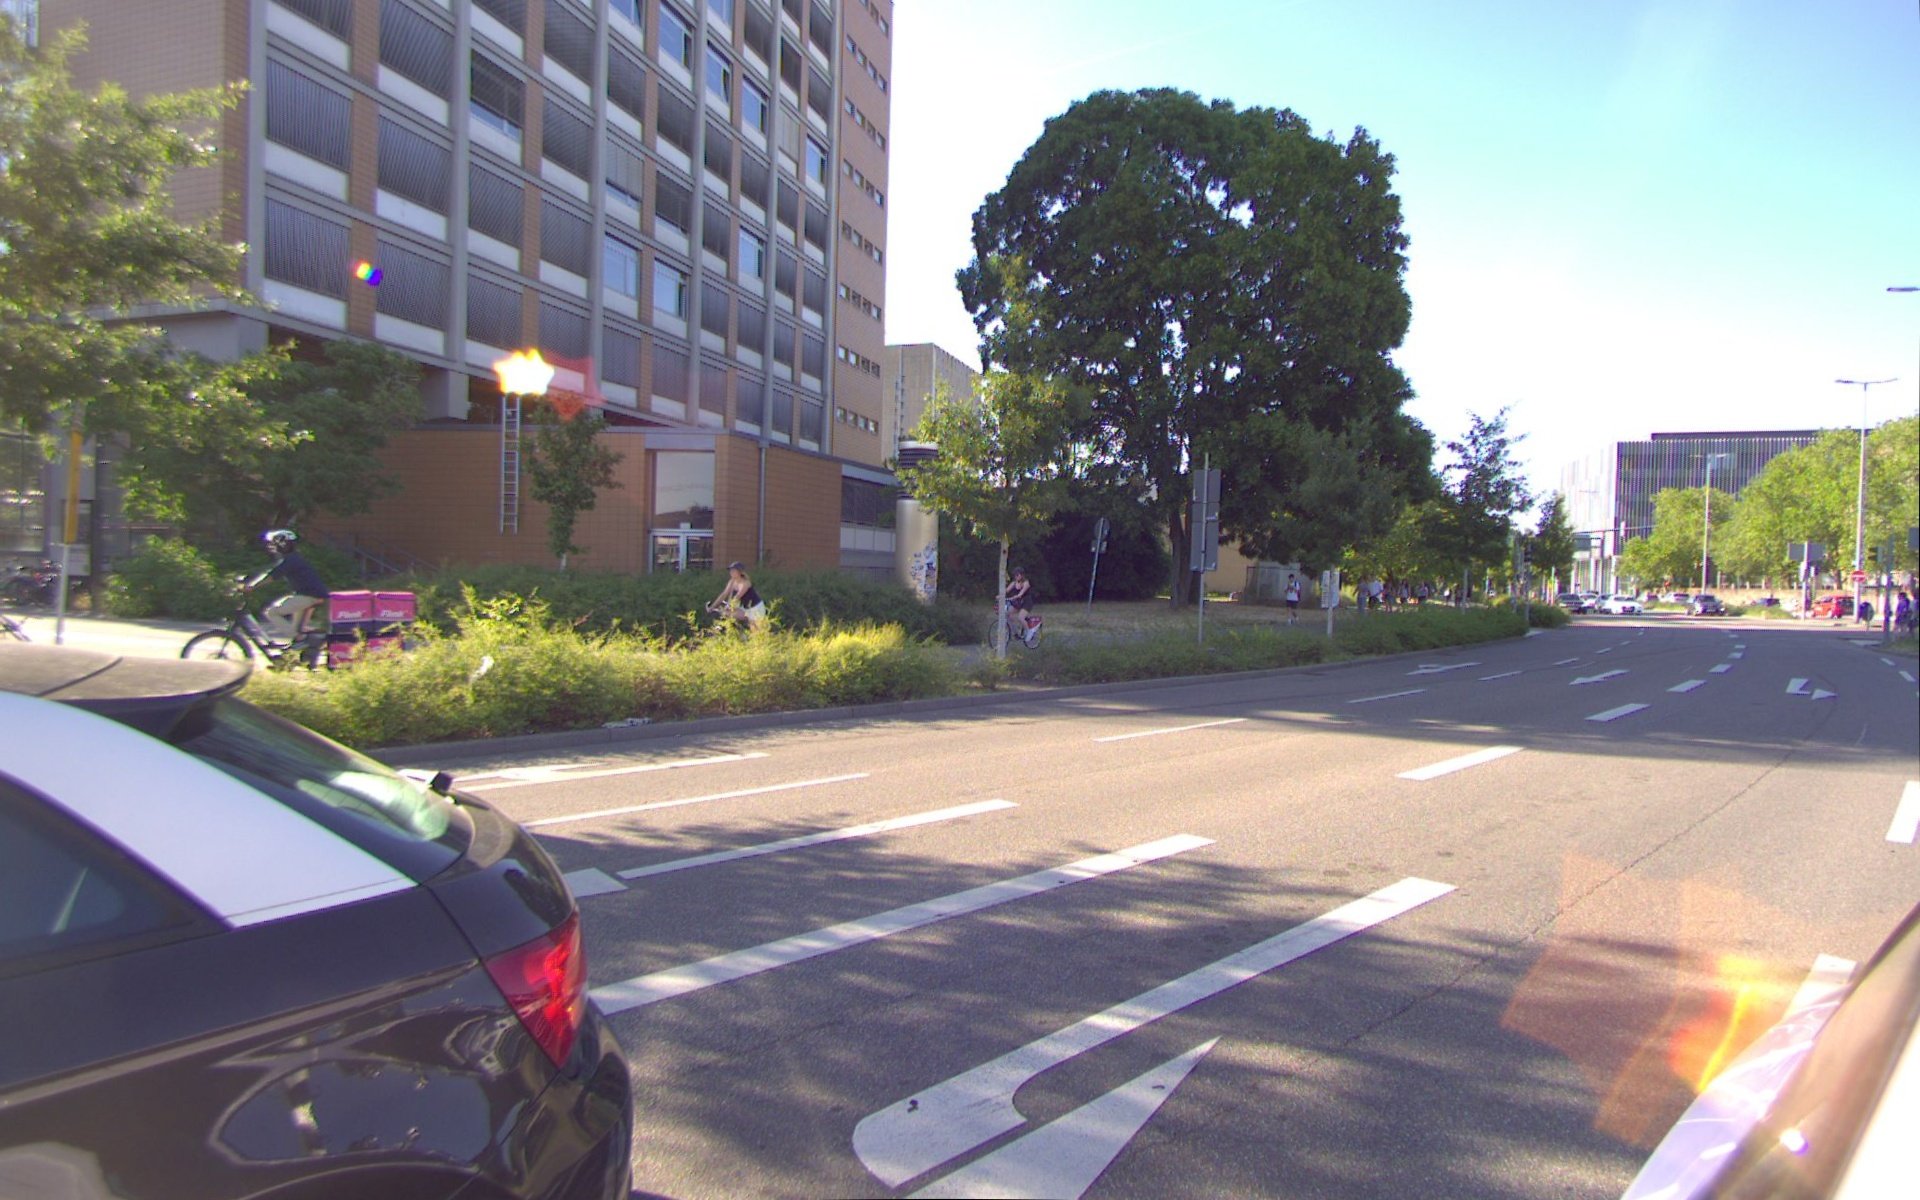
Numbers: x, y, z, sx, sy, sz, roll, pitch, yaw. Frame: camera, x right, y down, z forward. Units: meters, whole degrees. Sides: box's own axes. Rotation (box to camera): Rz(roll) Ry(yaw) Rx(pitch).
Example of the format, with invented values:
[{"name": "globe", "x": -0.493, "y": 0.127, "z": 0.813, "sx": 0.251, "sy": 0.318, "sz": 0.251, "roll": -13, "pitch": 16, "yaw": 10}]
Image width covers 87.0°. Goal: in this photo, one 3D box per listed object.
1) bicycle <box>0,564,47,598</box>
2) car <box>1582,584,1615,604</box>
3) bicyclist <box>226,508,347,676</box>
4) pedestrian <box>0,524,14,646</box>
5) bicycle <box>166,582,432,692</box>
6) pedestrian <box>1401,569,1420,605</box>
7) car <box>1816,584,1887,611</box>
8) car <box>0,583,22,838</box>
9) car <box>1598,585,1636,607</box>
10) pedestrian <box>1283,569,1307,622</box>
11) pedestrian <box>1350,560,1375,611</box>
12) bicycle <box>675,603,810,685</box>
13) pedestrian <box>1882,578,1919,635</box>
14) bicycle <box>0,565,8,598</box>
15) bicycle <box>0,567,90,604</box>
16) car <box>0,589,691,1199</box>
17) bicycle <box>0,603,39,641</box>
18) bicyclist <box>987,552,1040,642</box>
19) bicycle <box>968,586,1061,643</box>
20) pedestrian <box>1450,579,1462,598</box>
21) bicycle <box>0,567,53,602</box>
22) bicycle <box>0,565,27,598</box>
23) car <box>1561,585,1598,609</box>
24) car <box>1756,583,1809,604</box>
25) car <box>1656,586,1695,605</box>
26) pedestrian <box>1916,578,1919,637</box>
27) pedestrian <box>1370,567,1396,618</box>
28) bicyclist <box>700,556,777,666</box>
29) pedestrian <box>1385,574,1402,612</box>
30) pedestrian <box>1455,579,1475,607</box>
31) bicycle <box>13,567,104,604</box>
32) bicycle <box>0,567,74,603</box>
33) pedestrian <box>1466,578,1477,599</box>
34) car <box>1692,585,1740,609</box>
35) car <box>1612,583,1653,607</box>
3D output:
[{"name": "bicycle", "x": -24.811, "y": -0.499, "z": 26.246, "sx": 0.522, "sy": 0.868, "sz": 1.644, "roll": 2, "pitch": 2, "yaw": 18}, {"name": "car", "x": 53.064, "y": -0.528, "z": 84.155, "sx": 1.907, "sy": 1.538, "sz": 3.981, "roll": 2, "pitch": 2, "yaw": 26}, {"name": "bicyclist", "x": -7.788, "y": -0.099, "z": 11.757, "sx": 1.071, "sy": 1.856, "sz": 0.782, "roll": 1, "pitch": 1, "yaw": -27}, {"name": "pedestrian", "x": -13.553, "y": -0.210, "z": 13.758, "sx": 0.774, "sy": 1.680, "sz": 0.810, "roll": 0, "pitch": -1, "yaw": -24}, {"name": "bicycle", "x": -7.631, "y": 0.403, "z": 11.866, "sx": 2.528, "sy": 1.170, "sz": 0.782, "roll": 0, "pitch": 2, "yaw": -27}, {"name": "pedestrian", "x": 21.885, "y": -0.621, "z": 49.178, "sx": 0.667, "sy": 1.725, "sz": 0.872, "roll": 2, "pitch": 1, "yaw": 18}, {"name": "car", "x": 57.572, "y": -0.166, "z": 65.440, "sx": 2.173, "sy": 1.605, "sz": 4.568, "roll": 2, "pitch": 2, "yaw": 25}, {"name": "car", "x": -6.967, "y": 0.642, "z": 4.503, "sx": 3.904, "sy": 1.462, "sz": 1.806, "roll": 0, "pitch": 0, "yaw": -37}, {"name": "car", "x": 50.578, "y": -0.334, "z": 77.987, "sx": 1.907, "sy": 1.538, "sz": 3.981, "roll": 2, "pitch": 2, "yaw": 26}, {"name": "pedestrian", "x": 11.283, "y": -0.158, "z": 34.087, "sx": 0.618, "sy": 1.720, "sz": 0.623, "roll": 2, "pitch": 1, "yaw": 32}, {"name": "pedestrian", "x": 15.340, "y": -0.557, "z": 38.606, "sx": 0.609, "sy": 1.892, "sz": 0.578, "roll": 1, "pitch": 1, "yaw": -15}, {"name": "bicycle", "x": -3.220, "y": 0.645, "z": 15.084, "sx": 1.836, "sy": 1.135, "sz": 0.718, "roll": 2, "pitch": -1, "yaw": -41}, {"name": "pedestrian", "x": 29.894, "y": 0.197, "z": 32.055, "sx": 0.923, "sy": 1.762, "sz": 0.746, "roll": 2, "pitch": 1, "yaw": 39}, {"name": "bicycle", "x": -26.135, "y": -0.493, "z": 26.557, "sx": 0.522, "sy": 0.868, "sz": 1.644, "roll": 2, "pitch": 2, "yaw": 18}, {"name": "bicycle", "x": -22.839, "y": -0.365, "z": 25.271, "sx": 0.522, "sy": 0.868, "sz": 1.644, "roll": 2, "pitch": 2, "yaw": 18}, {"name": "car", "x": -2.481, "y": 0.716, "z": 1.036, "sx": 1.801, "sy": 1.462, "sz": 3.914, "roll": 0, "pitch": 1, "yaw": 45}, {"name": "bicycle", "x": -14.527, "y": 0.328, "z": 14.920, "sx": 0.428, "sy": 0.546, "sz": 1.340, "roll": 4, "pitch": 2, "yaw": 35}, {"name": "bicyclist", "x": 1.115, "y": -0.058, "z": 20.914, "sx": 0.835, "sy": 1.810, "sz": 0.716, "roll": 0, "pitch": 0, "yaw": -43}, {"name": "bicycle", "x": 1.150, "y": 0.272, "z": 20.938, "sx": 2.032, "sy": 1.135, "sz": 0.718, "roll": -1, "pitch": 0, "yaw": -43}, {"name": "pedestrian", "x": 42.877, "y": -1.013, "z": 87.555, "sx": 0.753, "sy": 1.562, "sz": 0.842, "roll": 2, "pitch": 1, "yaw": 18}, {"name": "bicycle", "x": -24.006, "y": -0.396, "z": 25.532, "sx": 0.522, "sy": 0.868, "sz": 1.644, "roll": 2, "pitch": 2, "yaw": 18}, {"name": "bicycle", "x": -25.500, "y": -0.486, "z": 26.411, "sx": 0.522, "sy": 0.868, "sz": 1.644, "roll": 2, "pitch": 2, "yaw": 18}, {"name": "car", "x": 43.937, "y": -0.245, "z": 71.846, "sx": 1.786, "sy": 1.538, "sz": 3.964, "roll": 2, "pitch": 2, "yaw": 26}, {"name": "car", "x": 66.871, "y": -0.542, "z": 82.313, "sx": 2.172, "sy": 1.605, "sz": 4.569, "roll": 2, "pitch": 2, "yaw": 24}, {"name": "car", "x": 69.550, "y": -0.407, "z": 98.429, "sx": 2.171, "sy": 1.705, "sz": 4.568, "roll": 2, "pitch": 0, "yaw": 24}, {"name": "pedestrian", "x": 29.506, "y": 0.232, "z": 30.481, "sx": 0.923, "sy": 1.762, "sz": 0.746, "roll": 2, "pitch": 1, "yaw": 39}, {"name": "pedestrian", "x": 15.919, "y": -0.285, "z": 38.078, "sx": 0.609, "sy": 1.892, "sz": 0.578, "roll": 1, "pitch": 1, "yaw": -15}, {"name": "bicyclist", "x": -3.283, "y": 0.158, "z": 15.025, "sx": 0.834, "sy": 1.568, "sz": 0.716, "roll": 2, "pitch": -1, "yaw": -41}, {"name": "pedestrian", "x": 18.676, "y": -0.305, "z": 43.617, "sx": 0.616, "sy": 1.594, "sz": 0.634, "roll": 2, "pitch": 1, "yaw": 24}, {"name": "pedestrian", "x": 33.292, "y": -0.454, "z": 66.732, "sx": 1.005, "sy": 1.771, "sz": 0.845, "roll": 2, "pitch": 1, "yaw": 18}, {"name": "bicycle", "x": -22.316, "y": -0.361, "z": 25.086, "sx": 0.522, "sy": 0.868, "sz": 1.644, "roll": 2, "pitch": 2, "yaw": 18}, {"name": "bicycle", "x": -23.390, "y": -0.382, "z": 25.432, "sx": 0.522, "sy": 0.868, "sz": 1.644, "roll": 2, "pitch": 2, "yaw": 18}, {"name": "pedestrian", "x": 42.334, "y": -0.942, "z": 83.752, "sx": 0.705, "sy": 1.734, "sz": 0.728, "roll": 2, "pitch": 1, "yaw": 24}, {"name": "car", "x": 51.532, "y": -0.230, "z": 69.048, "sx": 1.907, "sy": 1.538, "sz": 3.981, "roll": 2, "pitch": 2, "yaw": 26}, {"name": "car", "x": 47.412, "y": -0.375, "z": 71.434, "sx": 1.786, "sy": 1.538, "sz": 4.391, "roll": 2, "pitch": 2, "yaw": 26}]
